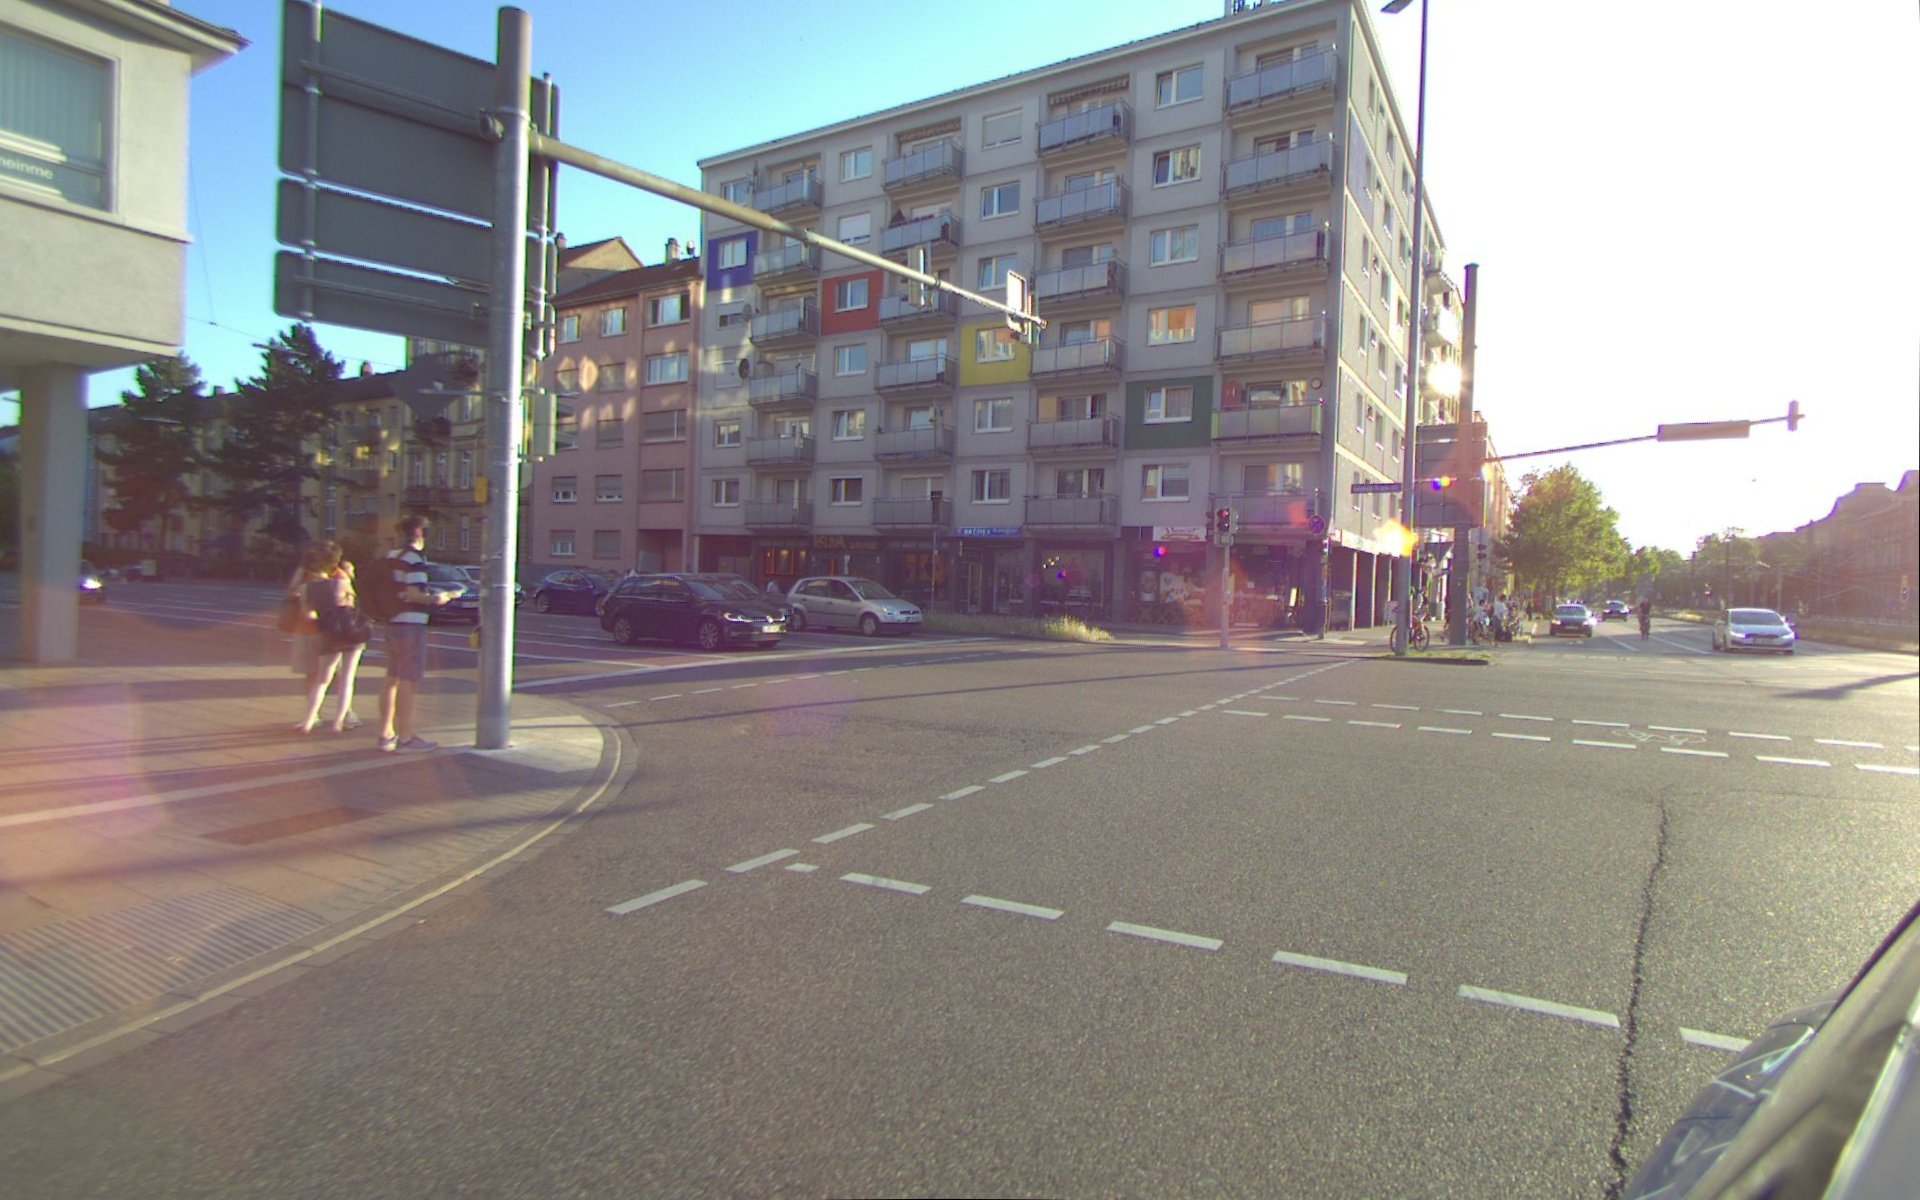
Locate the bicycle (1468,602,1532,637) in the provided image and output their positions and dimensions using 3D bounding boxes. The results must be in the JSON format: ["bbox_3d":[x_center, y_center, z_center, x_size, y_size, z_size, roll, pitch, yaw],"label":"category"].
[{"bbox_3d":[18.896,0.671,35.439,1.945,1.134,0.452,1,0,35],"label":"bicycle"}]

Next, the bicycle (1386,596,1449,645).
[{"bbox_3d":[11.685,0.516,25.827,1.933,1.197,0.490,1,0,-34],"label":"bicycle"}]

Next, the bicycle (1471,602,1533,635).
[{"bbox_3d":[19.701,0.664,36.817,1.945,1.134,0.452,1,0,35],"label":"bicycle"}]

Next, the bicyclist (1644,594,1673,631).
[{"bbox_3d":[30.565,0.537,44.301,0.989,1.557,0.912,1,0,33],"label":"bicyclist"}]

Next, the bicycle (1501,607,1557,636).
[{"bbox_3d":[23.349,0.857,41.543,1.945,1.134,0.452,1,0,35],"label":"bicycle"}]

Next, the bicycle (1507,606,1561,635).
[{"bbox_3d":[24.102,0.858,42.494,1.945,1.134,0.452,1,0,35],"label":"bicycle"}]

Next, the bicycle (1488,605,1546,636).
[{"bbox_3d":[21.570,0.780,39.214,1.945,1.134,0.452,1,0,35],"label":"bicycle"}]

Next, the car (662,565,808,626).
[{"bbox_3d":[-6.445,-0.153,28.829,4.154,1.541,1.638,3,1,34],"label":"car"}]

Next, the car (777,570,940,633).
[{"bbox_3d":[-2.658,0.004,26.101,3.991,1.487,1.893,1,0,38],"label":"car"}]

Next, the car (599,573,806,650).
[{"bbox_3d":[-5.355,0.171,20.915,4.161,1.443,1.908,1,1,34],"label":"car"}]

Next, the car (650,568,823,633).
[{"bbox_3d":[-5.573,-0.016,25.030,4.220,1.487,1.972,1,0,38],"label":"car"}]

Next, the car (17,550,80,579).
[{"bbox_3d":[-59.178,-2.297,65.676,3.968,1.808,1.978,1,0,31],"label":"car"}]

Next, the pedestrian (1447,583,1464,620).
[{"bbox_3d":[27.620,0.074,56.403,0.713,2.039,0.639,2,0,33],"label":"pedestrian"}]

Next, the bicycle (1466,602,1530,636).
[{"bbox_3d":[19.091,0.661,35.945,1.945,1.134,0.452,1,0,35],"label":"bicycle"}]

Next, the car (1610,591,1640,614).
[{"bbox_3d":[55.632,0.204,84.618,1.987,1.771,3.951,5,3,34],"label":"car"}]

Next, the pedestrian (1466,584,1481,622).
[{"bbox_3d":[28.383,0.155,55.946,0.651,2.039,0.743,1,0,33],"label":"pedestrian"}]

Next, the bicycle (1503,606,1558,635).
[{"bbox_3d":[23.671,0.854,42.008,1.945,1.134,0.452,1,0,35],"label":"bicycle"}]

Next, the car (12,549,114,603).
[{"bbox_3d":[-28.554,-0.757,32.178,4.089,1.596,1.717,1,0,38],"label":"car"}]

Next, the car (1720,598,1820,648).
[{"bbox_3d":[26.565,0.712,33.313,1.940,1.512,3.917,1,0,30],"label":"car"}]

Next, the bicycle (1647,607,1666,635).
[{"bbox_3d":[30.548,0.903,44.397,0.571,1.215,2.180,1,0,32],"label":"bicycle"}]

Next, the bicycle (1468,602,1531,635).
[{"bbox_3d":[19.383,0.659,36.384,1.945,1.134,0.452,1,0,35],"label":"bicycle"}]

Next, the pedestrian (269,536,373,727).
[{"bbox_3d":[-6.012,0.281,9.515,0.758,1.714,0.518,1,1,-37],"label":"pedestrian"}]

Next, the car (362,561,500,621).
[{"bbox_3d":[-13.975,-0.263,26.683,3.904,1.470,1.779,2,0,38],"label":"car"}]

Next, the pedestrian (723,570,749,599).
[{"bbox_3d":[-10.279,-0.721,46.442,0.887,1.314,1.048,1,0,-32],"label":"pedestrian"}]

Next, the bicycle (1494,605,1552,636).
[{"bbox_3d":[22.206,0.795,39.919,1.945,1.134,0.452,1,0,35],"label":"bicycle"}]

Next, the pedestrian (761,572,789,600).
[{"bbox_3d":[-8.198,-0.627,44.770,0.887,1.181,1.048,1,0,-32],"label":"pedestrian"}]

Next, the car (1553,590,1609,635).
[{"bbox_3d":[29.404,0.567,48.022,1.982,2.039,3.961,1,0,28],"label":"car"}]

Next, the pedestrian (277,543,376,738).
[{"bbox_3d":[-5.682,0.344,9.078,0.694,1.665,0.518,1,1,-36],"label":"pedestrian"}]

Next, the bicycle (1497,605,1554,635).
[{"bbox_3d":[22.632,0.804,40.492,1.945,1.134,0.452,1,0,35],"label":"bicycle"}]

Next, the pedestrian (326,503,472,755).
[{"bbox_3d":[-4.699,0.217,8.493,0.699,1.981,0.836,2,1,38],"label":"pedestrian"}]

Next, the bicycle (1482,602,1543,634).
[{"bbox_3d":[20.665,0.663,37.858,1.945,1.134,0.452,1,0,35],"label":"bicycle"}]

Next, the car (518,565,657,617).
[{"bbox_3d":[-11.841,-0.303,32.090,4.504,1.514,1.686,2,0,32],"label":"car"}]

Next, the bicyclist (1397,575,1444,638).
[{"bbox_3d":[11.782,0.171,25.913,0.719,1.588,0.824,1,0,-31],"label":"bicyclist"}]
